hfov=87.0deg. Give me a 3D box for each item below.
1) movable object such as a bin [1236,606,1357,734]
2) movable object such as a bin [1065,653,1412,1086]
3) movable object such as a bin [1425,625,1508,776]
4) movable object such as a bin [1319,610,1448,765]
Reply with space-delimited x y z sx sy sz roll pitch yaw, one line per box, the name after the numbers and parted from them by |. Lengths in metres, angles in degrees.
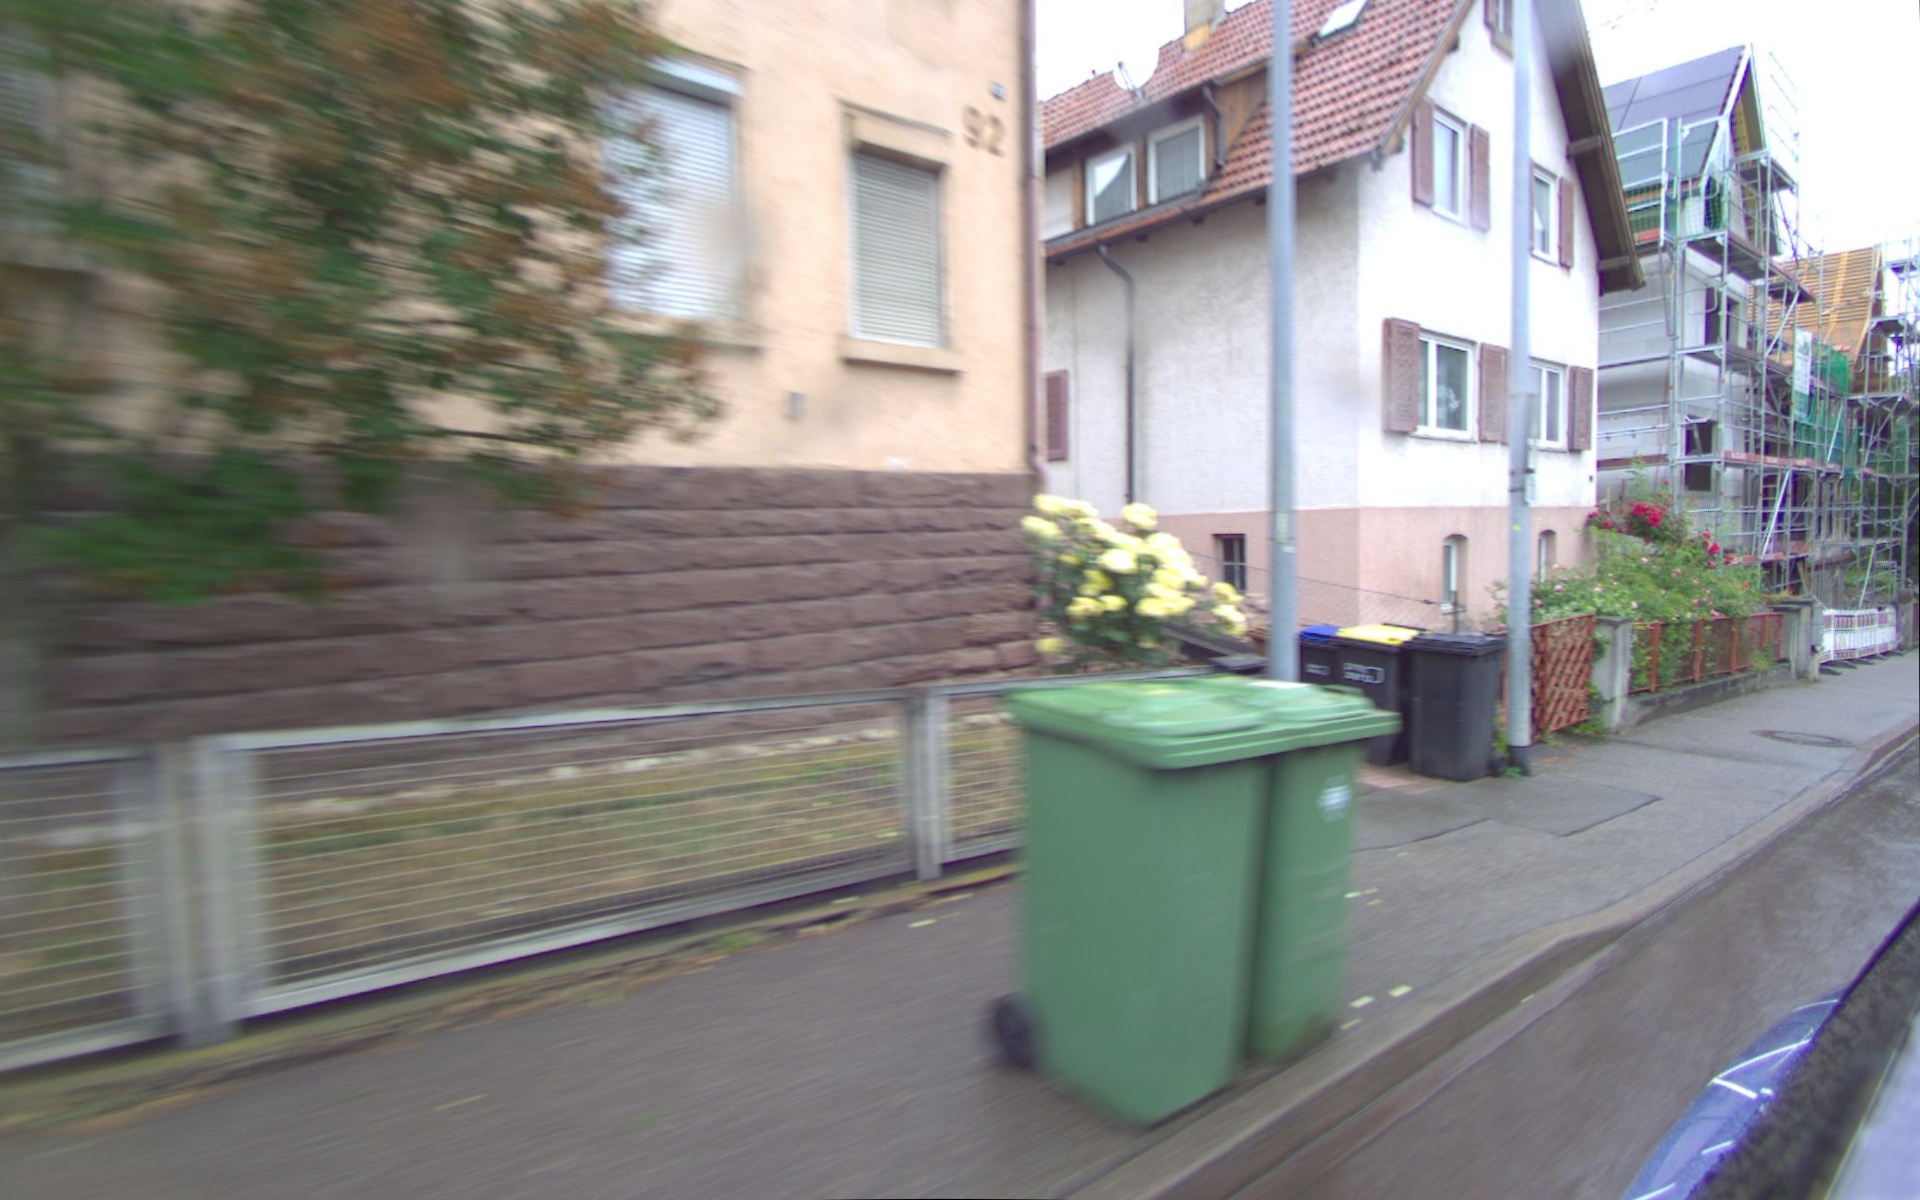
2.928 0.584 8.817 0.778 0.978 0.611 0 7 -43 | movable object such as a bin
0.867 0.732 3.178 0.785 1.065 0.722 0 1 -37 | movable object such as a bin
3.670 0.707 7.334 0.479 1.031 0.380 0 0 -40 | movable object such as a bin
3.333 0.649 7.966 0.778 1.089 0.610 0 4 -43 | movable object such as a bin
